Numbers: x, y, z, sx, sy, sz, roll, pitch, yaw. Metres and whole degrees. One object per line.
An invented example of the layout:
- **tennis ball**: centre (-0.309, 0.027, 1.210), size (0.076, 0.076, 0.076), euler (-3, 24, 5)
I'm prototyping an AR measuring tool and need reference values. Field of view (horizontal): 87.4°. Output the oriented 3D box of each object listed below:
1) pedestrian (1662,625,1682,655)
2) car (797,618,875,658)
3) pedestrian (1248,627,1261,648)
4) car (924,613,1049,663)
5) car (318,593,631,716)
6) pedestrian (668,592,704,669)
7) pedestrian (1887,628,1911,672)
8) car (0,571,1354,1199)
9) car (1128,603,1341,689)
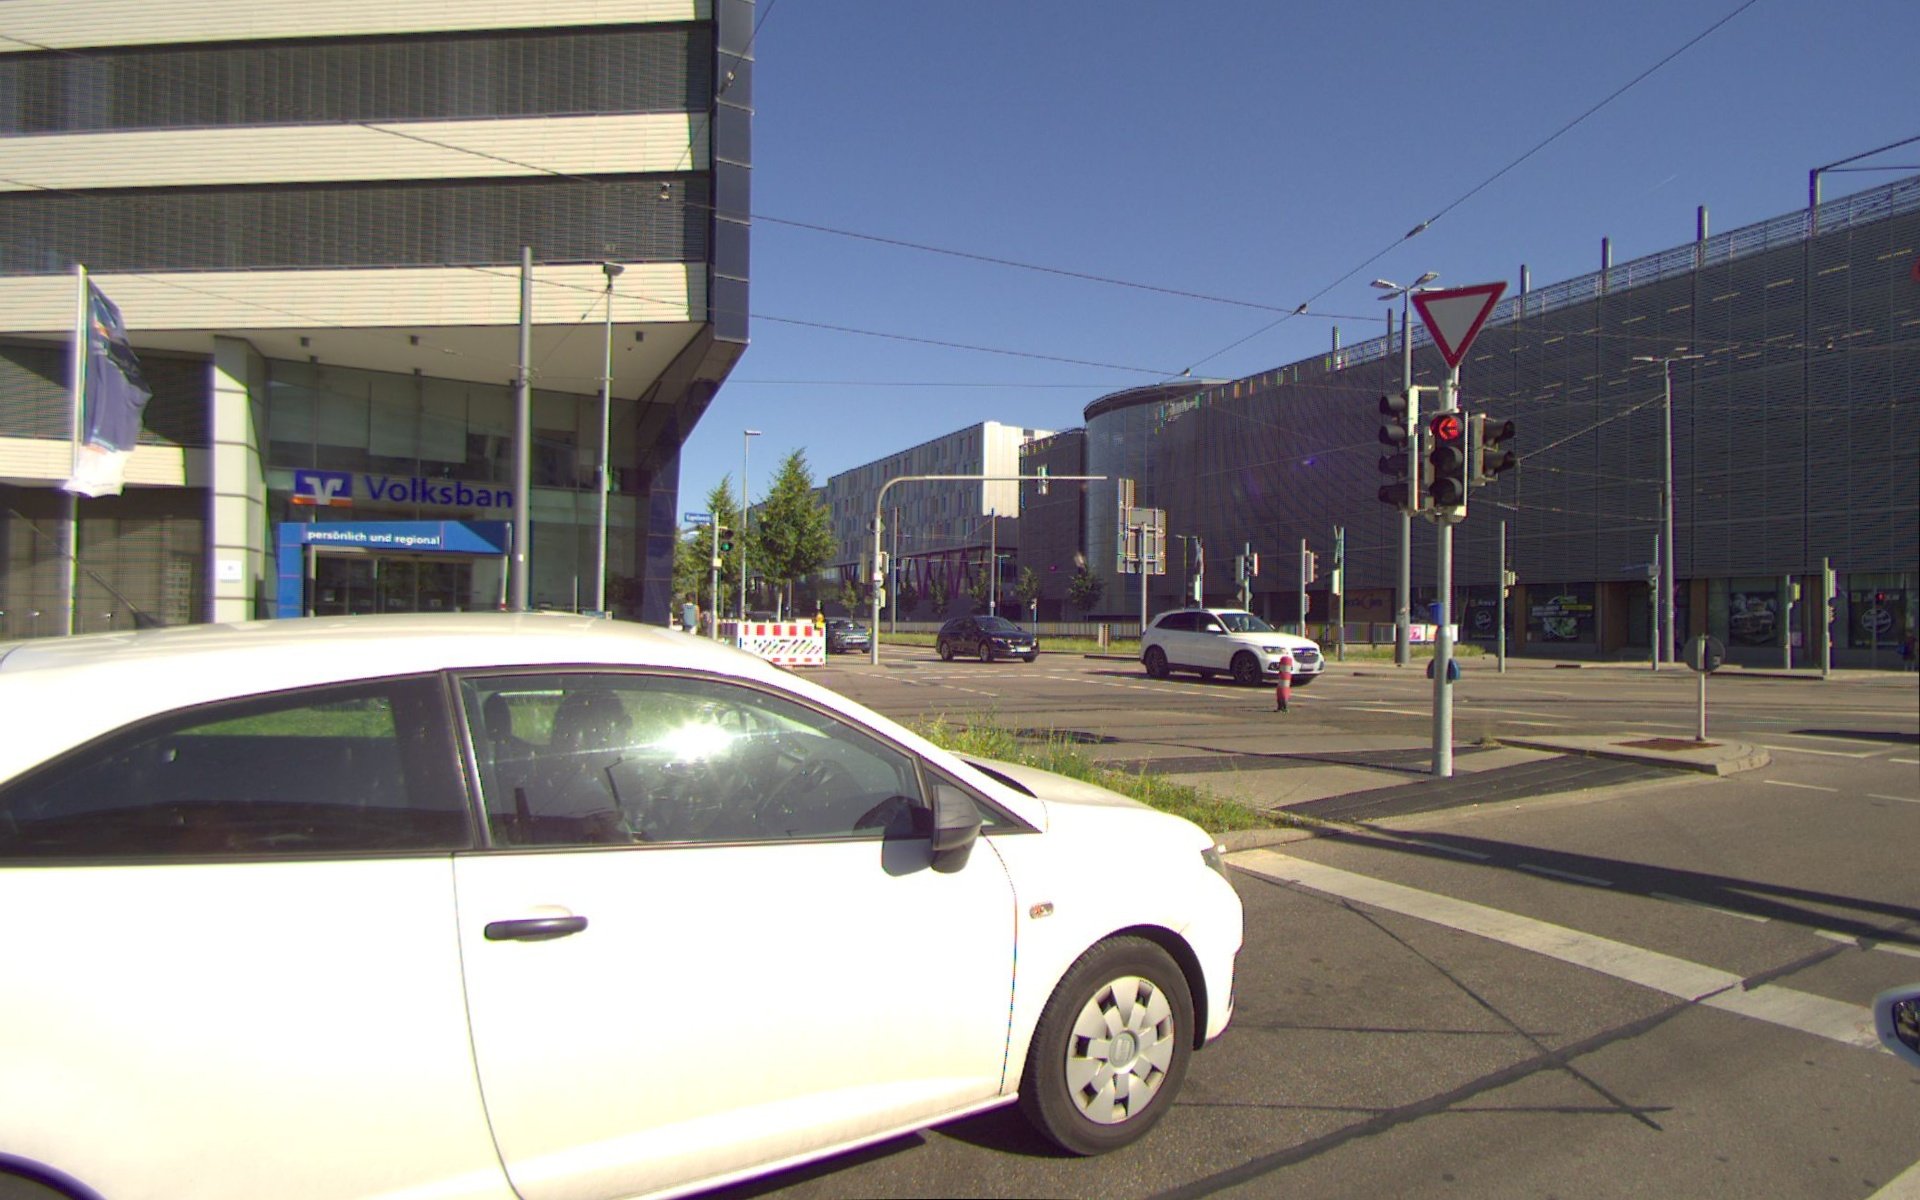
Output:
- **pedestrian**: centre (40.257, 2.254, 56.790), size (0.584, 1.622, 0.661), euler (2, 0, -11)
- **car**: centre (-5.360, 1.568, 42.945), size (1.690, 1.534, 4.241), euler (1, 0, -32)
- **pedestrian**: centre (23.122, 2.913, 78.910), size (0.642, 1.622, 0.658), euler (2, 0, -24)
- **car**: centre (0.752, 1.220, 32.146), size (1.812, 1.481, 4.646), euler (1, -2, -31)
- **car**: centre (-7.419, 0.782, 15.482), size (4.138, 1.668, 1.809), euler (1, -1, -34)
- **pedestrian**: centre (-6.217, 0.696, 22.810), size (0.729, 1.719, 0.805), euler (0, -2, -20)
- **pedestrian**: centre (39.964, 2.116, 42.732), size (0.687, 1.821, 0.726), euler (-2, -3, 44)
- **car**: centre (-0.959, 0.734, 2.790), size (3.977, 1.460, 1.723), euler (2, 1, -31)
- **car**: centre (6.047, 0.976, 22.710), size (1.915, 1.729, 4.645), euler (1, -2, -31)
